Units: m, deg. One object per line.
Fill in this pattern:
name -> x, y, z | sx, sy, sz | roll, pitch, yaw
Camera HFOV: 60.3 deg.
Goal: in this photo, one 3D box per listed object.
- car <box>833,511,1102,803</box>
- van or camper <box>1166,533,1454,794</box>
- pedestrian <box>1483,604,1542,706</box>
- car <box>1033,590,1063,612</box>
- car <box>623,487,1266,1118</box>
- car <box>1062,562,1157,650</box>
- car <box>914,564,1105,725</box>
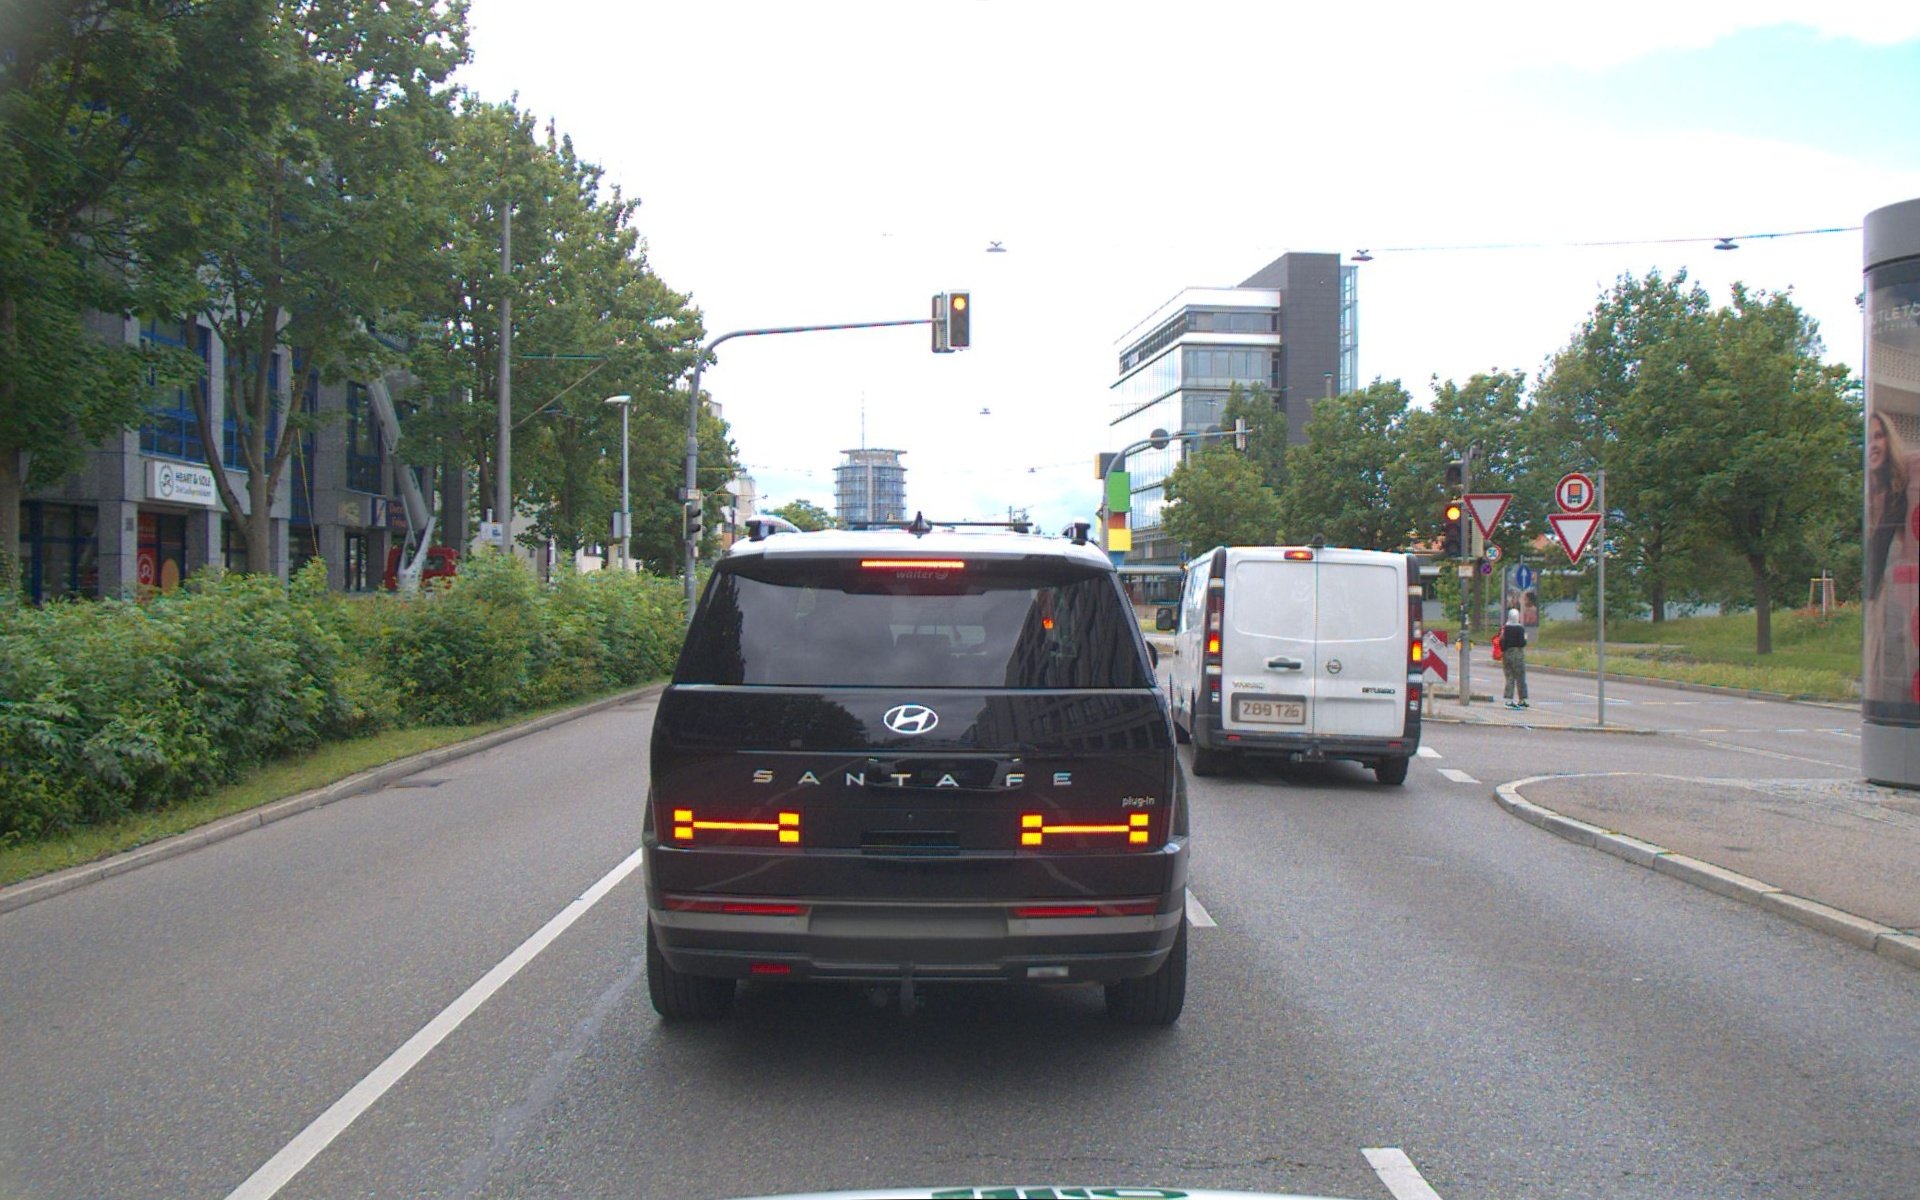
car -> 0.024, 0.386, 13.502 | 1.876, 2.038, 3.879 | 0, 0, -1
van or camper -> 3.074, 0.493, 15.485 | 1.952, 2.049, 4.654 | 1, 0, 3
pedestrian -> 9.009, 0.885, 26.953 | 0.733, 1.612, 0.565 | 2, 0, -41
car -> 7.018, 0.097, 131.908 | 1.954, 1.713, 3.997 | 1, 0, -3
car -> -0.065, 0.565, 6.653 | 1.831, 1.791, 3.879 | 0, 0, -1
car -> 3.618, 0.156, 40.641 | 1.952, 2.049, 4.000 | 1, 0, 0
car -> 0.722, 0.502, 20.359 | 1.738, 1.747, 4.342 | 1, 0, 10
